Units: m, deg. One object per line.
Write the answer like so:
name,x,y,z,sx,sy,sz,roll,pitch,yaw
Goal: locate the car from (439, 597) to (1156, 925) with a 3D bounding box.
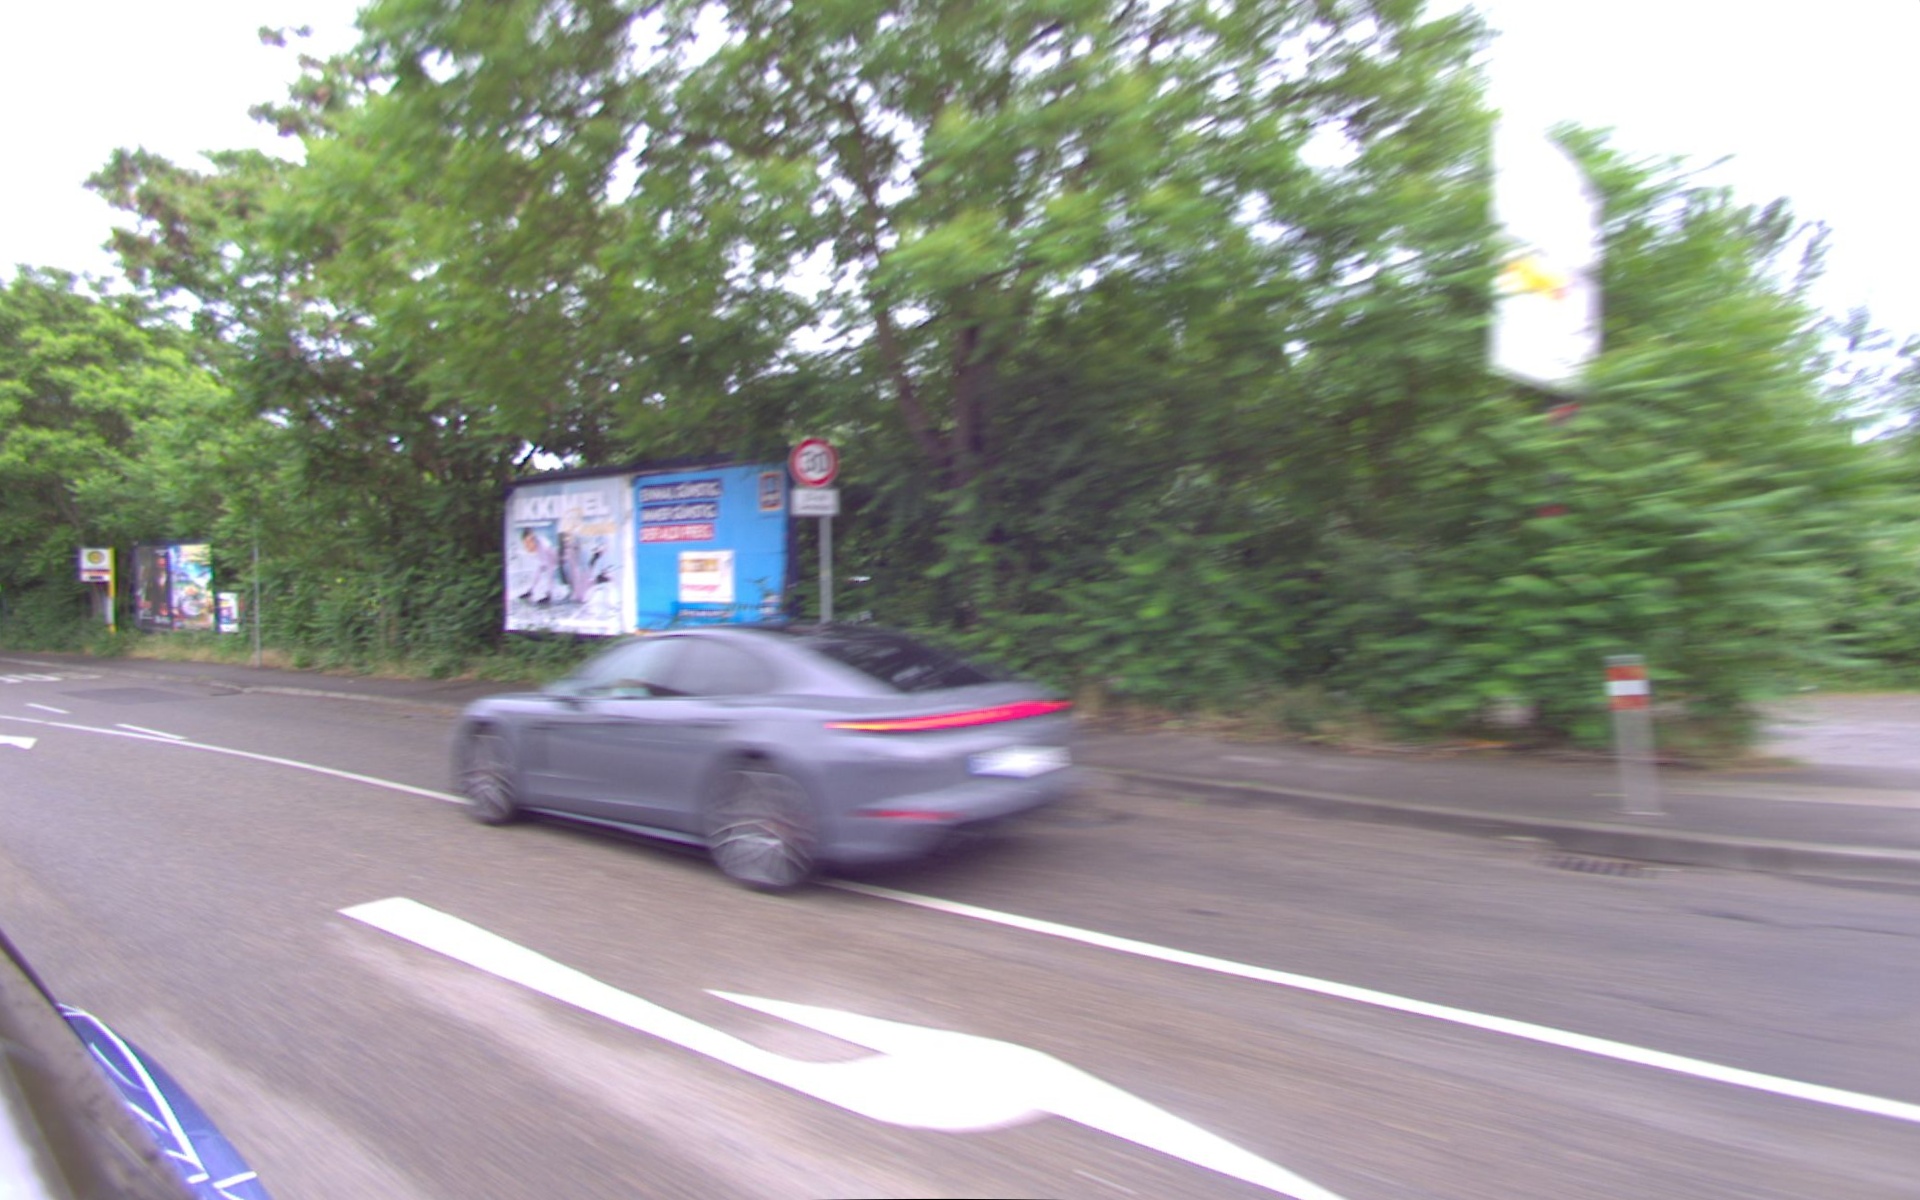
car,-1.318,0.778,6.733,4.767,1.454,1.975,-2,-1,37
